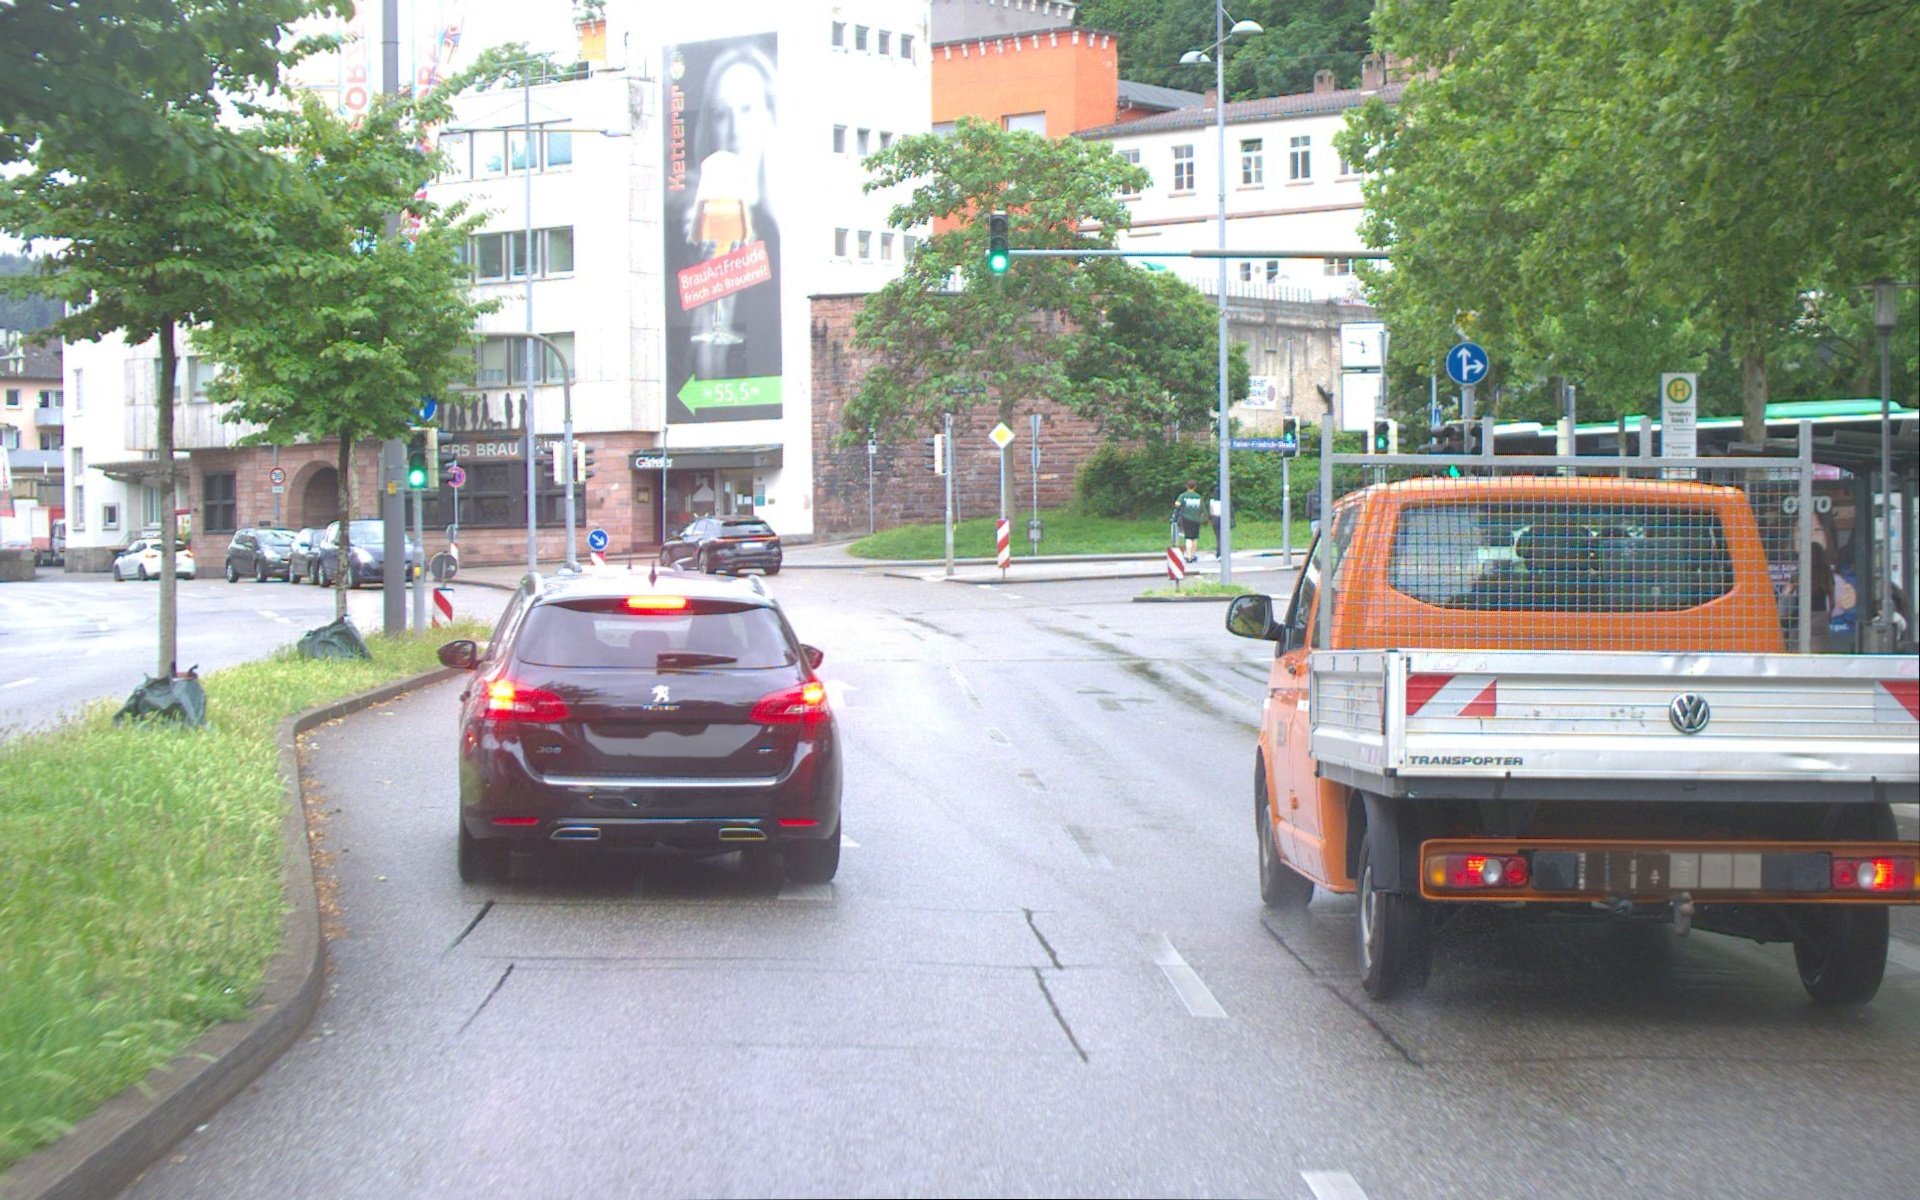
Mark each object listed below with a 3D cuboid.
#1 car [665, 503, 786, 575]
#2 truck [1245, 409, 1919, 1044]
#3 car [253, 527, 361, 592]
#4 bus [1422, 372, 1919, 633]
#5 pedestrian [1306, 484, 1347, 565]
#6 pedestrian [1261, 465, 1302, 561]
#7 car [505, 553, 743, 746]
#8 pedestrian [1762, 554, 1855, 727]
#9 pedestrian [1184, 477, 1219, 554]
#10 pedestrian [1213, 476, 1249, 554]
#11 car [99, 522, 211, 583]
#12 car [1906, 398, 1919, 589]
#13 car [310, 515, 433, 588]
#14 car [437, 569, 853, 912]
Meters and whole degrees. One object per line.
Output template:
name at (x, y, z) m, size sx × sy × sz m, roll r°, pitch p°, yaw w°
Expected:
car at (-5.597, -1.428, 81.668) m, size 1.644 × 1.559 × 3.601 m, roll 3°, pitch -1°, yaw -24°
truck at (2.374, 0.364, 13.352) m, size 2.122 × 2.018 × 4.716 m, roll 0°, pitch 1°, yaw 0°
car at (-16.883, -1.036, 88.740) m, size 1.644 × 1.559 × 3.600 m, roll 3°, pitch -2°, yaw -29°
bus at (18.725, -1.960, 70.919) m, size 17.916 × 5.193 × 3.099 m, roll 0°, pitch 1°, yaw -3°
pedestrian at (7.675, -1.593, 71.983) m, size 0.717 × 1.658 × 0.563 m, roll -2°, pitch 3°, yaw -7°
pedestrian at (6.792, -1.845, 72.714) m, size 0.717 × 1.986 × 0.563 m, roll -2°, pitch 3°, yaw -7°
car at (-2.776, 0.360, 29.126) m, size 1.794 × 1.478 × 4.001 m, roll -1°, pitch 1°, yaw -3°
pedestrian at (8.352, 0.392, 33.854) m, size 0.724 × 1.694 × 0.623 m, roll 0°, pitch 1°, yaw -4°
pedestrian at (5.262, -1.848, 74.975) m, size 0.639 × 1.658 × 0.563 m, roll -2°, pitch 3°, yaw -7°
pedestrian at (5.917, -1.857, 75.073) m, size 0.639 × 1.658 × 0.563 m, roll -2°, pitch 3°, yaw -7°
car at (-26.177, -1.531, 111.733) m, size 1.994 × 1.941 × 3.999 m, roll 0°, pitch 1°, yaw -39°
car at (16.018, -1.626, 51.759) m, size 2.072 × 2.960 × 4.228 m, roll 0°, pitch 1°, yaw -5°
car at (-13.804, -1.116, 80.525) m, size 1.644 × 1.559 × 3.600 m, roll 3°, pitch -2°, yaw -30°
car at (-1.479, 0.604, 17.070) m, size 1.794 × 1.478 × 4.000 m, roll 1°, pitch 0°, yaw -3°
